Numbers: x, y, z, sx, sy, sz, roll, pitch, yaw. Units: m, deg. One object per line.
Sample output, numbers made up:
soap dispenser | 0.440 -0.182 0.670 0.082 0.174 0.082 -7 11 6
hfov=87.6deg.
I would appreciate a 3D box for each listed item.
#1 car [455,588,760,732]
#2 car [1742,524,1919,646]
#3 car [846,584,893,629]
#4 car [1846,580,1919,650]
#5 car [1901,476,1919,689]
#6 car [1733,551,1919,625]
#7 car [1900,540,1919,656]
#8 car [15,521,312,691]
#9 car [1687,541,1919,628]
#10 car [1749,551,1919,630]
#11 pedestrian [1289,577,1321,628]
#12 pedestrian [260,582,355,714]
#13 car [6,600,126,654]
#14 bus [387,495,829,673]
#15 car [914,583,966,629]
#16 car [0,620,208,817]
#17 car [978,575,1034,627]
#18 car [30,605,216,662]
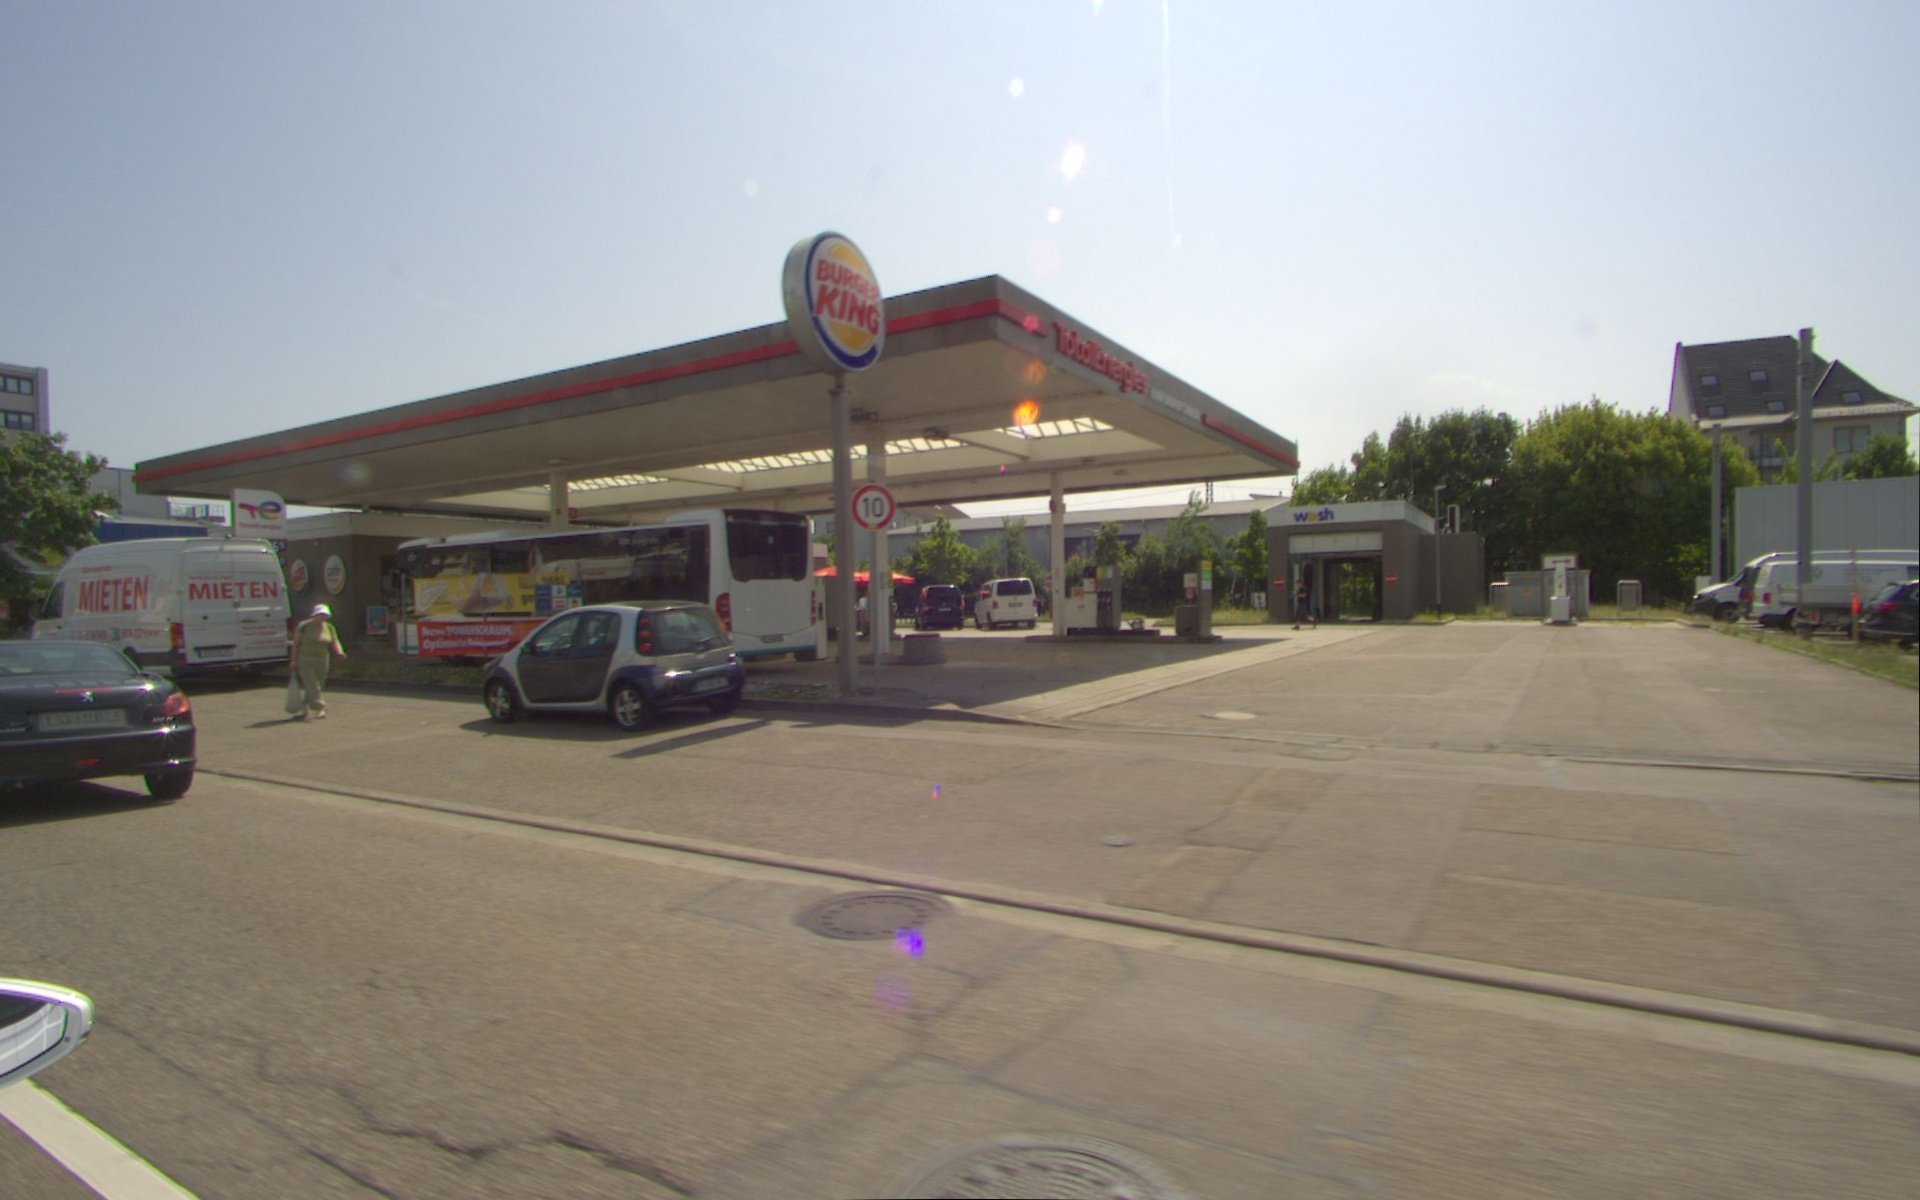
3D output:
car | -4.579 0.685 12.902 3.764 1.540 1.653 -1 3 32
car | 21.721 -0.340 21.940 6.970 2.590 2.251 0 1 32
car | -4.031 0.334 44.228 1.961 1.765 4.001 -1 -2 -6
car | 20.383 0.307 19.586 4.314 1.374 1.741 -1 -1 31
car | 15.007 -0.247 10.652 6.916 2.711 2.251 0 1 32
car | 27.195 -0.350 31.544 4.314 2.194 1.740 0 1 31
car | 17.646 0.027 15.057 4.724 1.891 1.731 2 2 27
car | -15.839 0.081 19.751 7.203 2.879 2.127 -1 3 32
car | 30.317 -0.456 35.968 6.565 2.728 1.990 -3 -2 32
car | 24.498 -0.228 26.662 5.281 2.020 1.741 0 -1 32
pedestrian | 11.594 0.097 33.642 0.864 1.673 0.766 -2 -2 28
pedestrian | -9.364 0.666 14.391 0.693 1.774 0.812 2 7 31
car | -28.383 0.886 31.773 3.942 1.530 1.747 -3 -2 30
bus | -8.323 -0.300 22.178 12.118 3.120 2.796 0 0 35
car | -0.888 0.285 42.437 1.825 1.766 4.001 -1 -2 -6
car | -8.293 0.896 8.750 3.609 1.443 1.597 -1 -1 32
car | 1.823 0.109 40.787 1.896 1.909 4.002 -2 -2 -3
car | -24.637 0.977 29.578 1.725 1.530 3.971 -3 -3 38
